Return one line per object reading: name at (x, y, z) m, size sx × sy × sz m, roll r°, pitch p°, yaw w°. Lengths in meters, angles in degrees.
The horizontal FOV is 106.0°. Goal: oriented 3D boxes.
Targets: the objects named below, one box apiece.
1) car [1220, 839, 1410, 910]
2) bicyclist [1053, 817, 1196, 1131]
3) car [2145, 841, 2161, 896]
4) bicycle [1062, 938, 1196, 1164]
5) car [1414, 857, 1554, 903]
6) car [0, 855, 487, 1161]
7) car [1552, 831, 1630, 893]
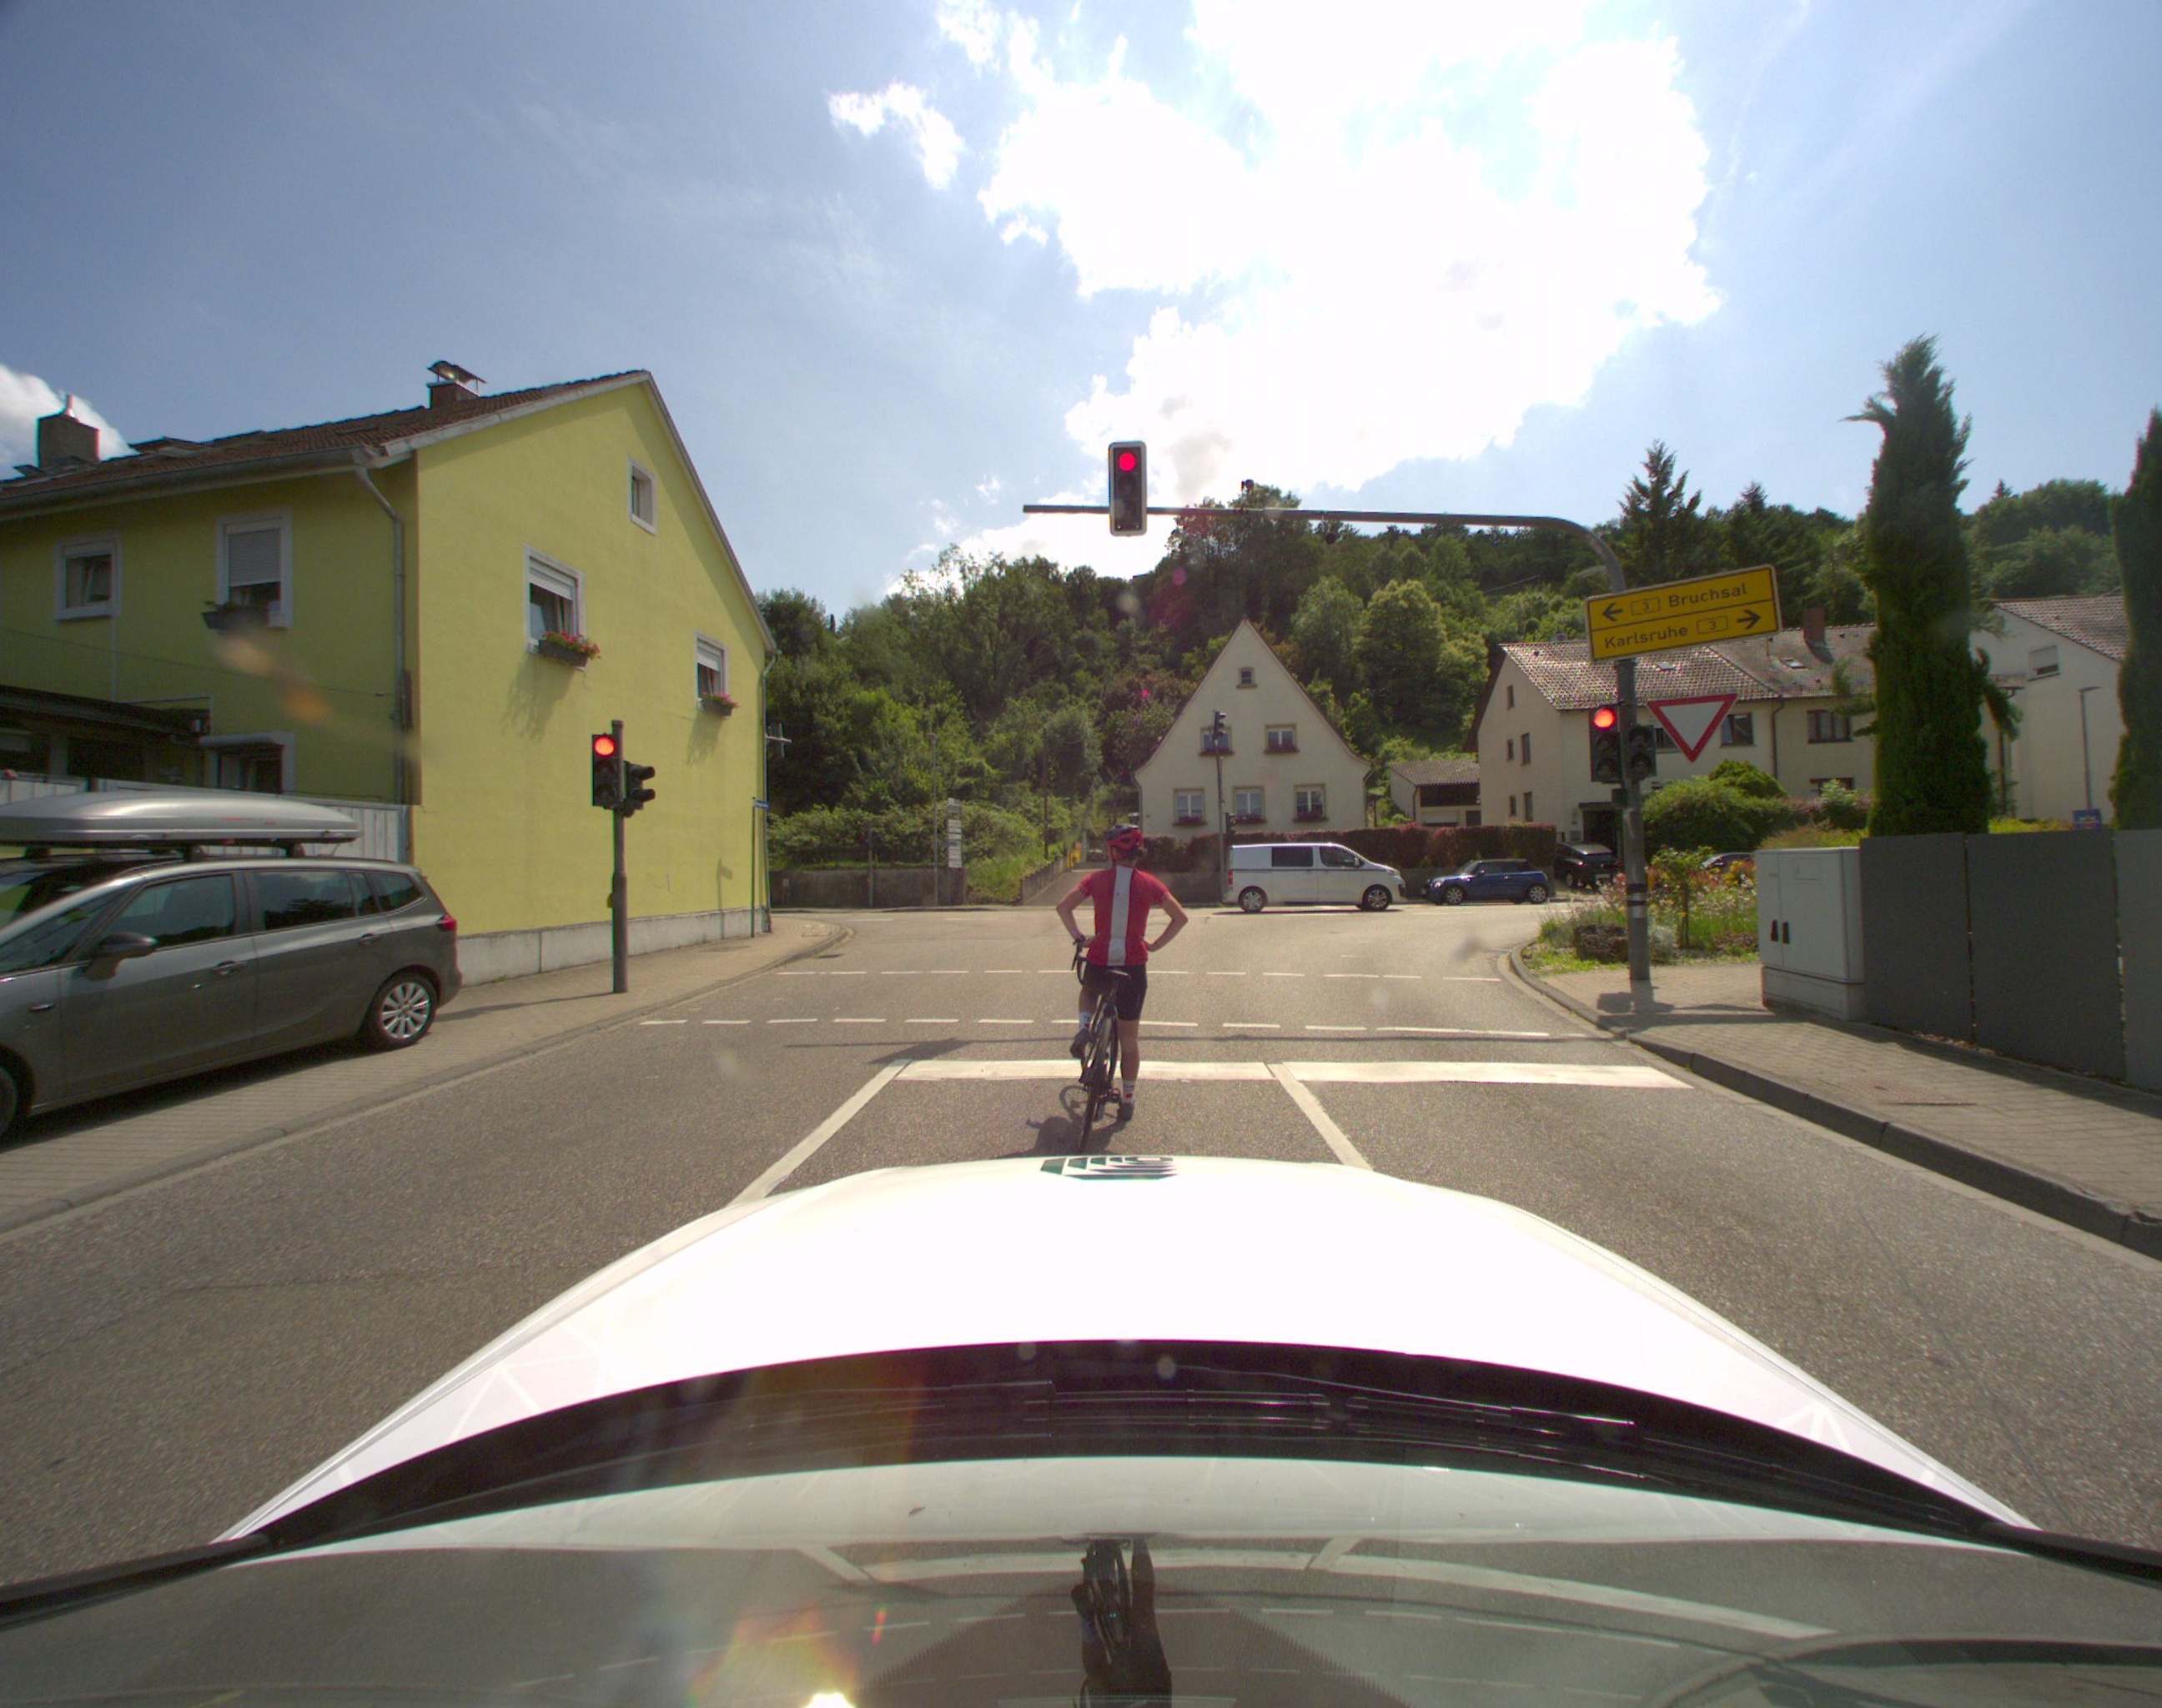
car at (6.364, 0.602, 22.670) m, size 4.845 × 1.822 × 2.004 m, roll -1°, pitch -3°, yaw 8°
bicyclist at (0.218, 0.636, 4.766) m, size 0.759 × 1.664 × 0.868 m, roll 0°, pitch -1°, yaw -2°
car at (30.539, 0.305, 20.414) m, size 4.637 × 1.427 × 1.932 m, roll -1°, pitch -3°, yaw 8°
bicycle at (0.212, 1.023, 4.708) m, size 0.628 × 0.905 × 1.656 m, roll 0°, pitch 0°, yaw -2°
car at (12.554, 0.842, 25.555) m, size 3.590 × 1.363 × 1.647 m, roll -1°, pitch -3°, yaw 6°
car at (-6.729, 0.827, 5.444) m, size 1.986 × 1.635 × 4.632 m, roll 0°, pitch 0°, yaw 2°
car at (18.873, 0.250, 30.271) m, size 1.780 × 1.388 × 3.709 m, roll -1°, pitch 13°, yaw 21°
